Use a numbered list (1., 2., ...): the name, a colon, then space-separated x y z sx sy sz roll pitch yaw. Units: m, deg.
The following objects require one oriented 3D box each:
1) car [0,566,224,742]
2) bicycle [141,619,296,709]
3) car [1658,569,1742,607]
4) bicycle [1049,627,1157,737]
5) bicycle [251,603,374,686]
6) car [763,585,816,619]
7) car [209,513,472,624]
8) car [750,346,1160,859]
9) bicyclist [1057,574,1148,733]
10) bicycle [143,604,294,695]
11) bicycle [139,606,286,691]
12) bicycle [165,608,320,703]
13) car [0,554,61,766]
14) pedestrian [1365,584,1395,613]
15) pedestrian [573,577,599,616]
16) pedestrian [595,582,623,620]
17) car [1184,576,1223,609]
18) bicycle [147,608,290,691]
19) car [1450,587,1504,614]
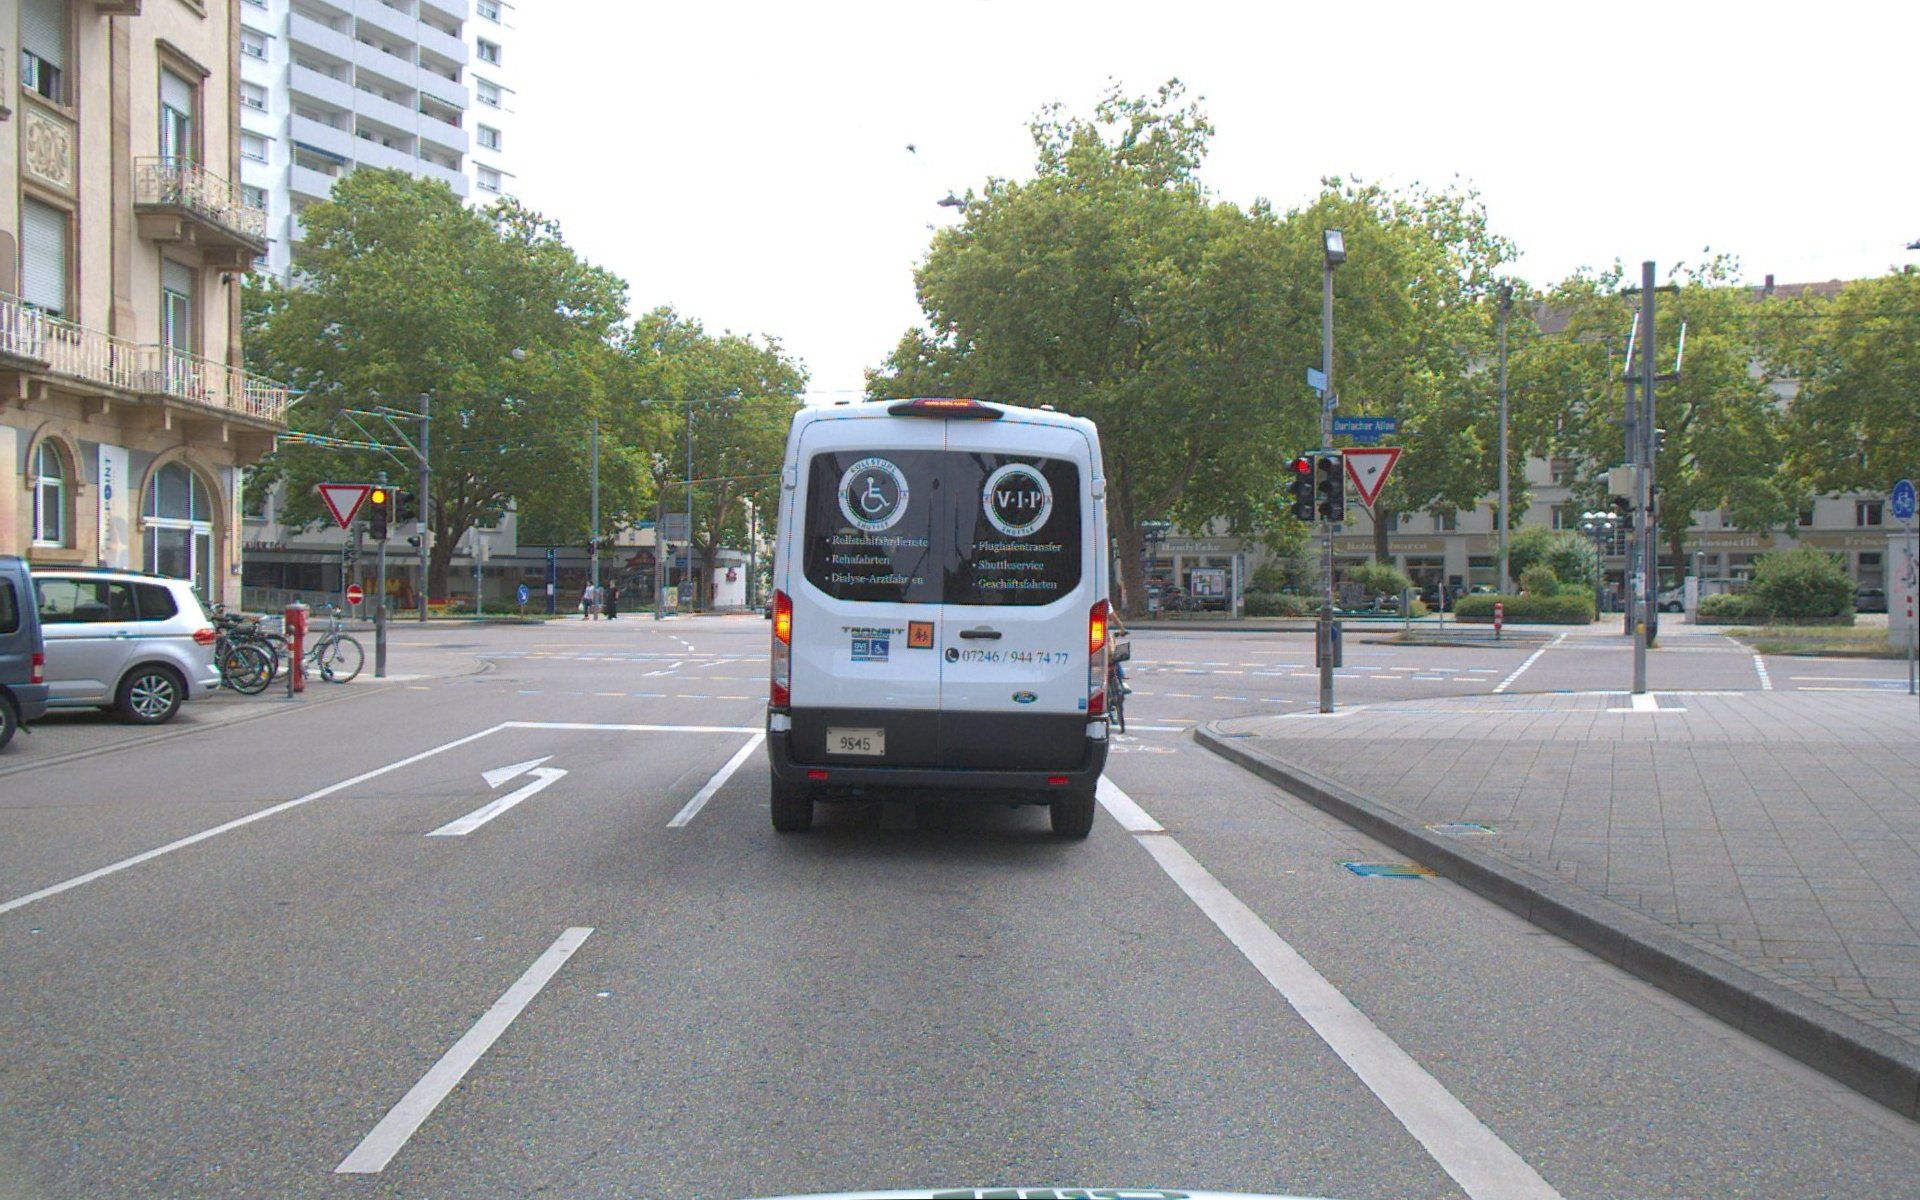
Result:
1. car: -10.265 0.545 17.793 3.977 1.804 1.770 -1 1 -41
2. bicycle: -9.654 0.831 21.556 1.771 1.140 0.594 0 0 4
3. car: 38.156 -0.636 85.398 3.906 1.916 1.857 0 0 23
4. bicycle: 1.557 0.871 18.324 0.885 1.094 1.968 0 1 -5
5. bicycle: -9.936 0.671 25.382 1.836 1.187 0.498 2 0 19
6. car: -7.740 0.073 75.333 1.586 1.502 4.003 0 1 6
7. car: -23.704 -1.170 63.224 9.684 3.984 3.454 0 0 23
8. car: -0.150 -0.025 11.151 2.138 2.694 4.625 1 1 -3
9. bicyclist: 1.561 0.575 18.255 0.886 1.713 0.756 0 0 -5
10. bicycle: -10.271 0.685 22.942 1.776 1.186 0.593 2 0 -10
11. bicycle: -10.615 0.689 23.541 1.776 1.140 0.593 2 0 -10
12. bicycle: -9.628 0.739 22.228 1.772 1.140 0.594 3 0 2
13. car: -10.377 0.551 14.652 3.977 1.911 1.770 -1 1 -41
14. pedestrian: 19.440 -0.062 76.584 1.068 1.257 1.441 -2 0 2
15. pedestrian: -15.377 -0.155 68.027 0.790 1.600 0.724 0 0 12
16. pedestrian: -14.444 0.052 67.995 0.909 1.541 0.724 0 0 12
17. car: 14.798 -0.445 100.579 1.952 1.964 4.002 0 0 3
18. bicycle: -10.845 0.724 24.229 1.776 1.140 0.593 2 0 -10
19. car: 29.589 0.010 94.757 1.952 1.529 4.002 0 0 3
